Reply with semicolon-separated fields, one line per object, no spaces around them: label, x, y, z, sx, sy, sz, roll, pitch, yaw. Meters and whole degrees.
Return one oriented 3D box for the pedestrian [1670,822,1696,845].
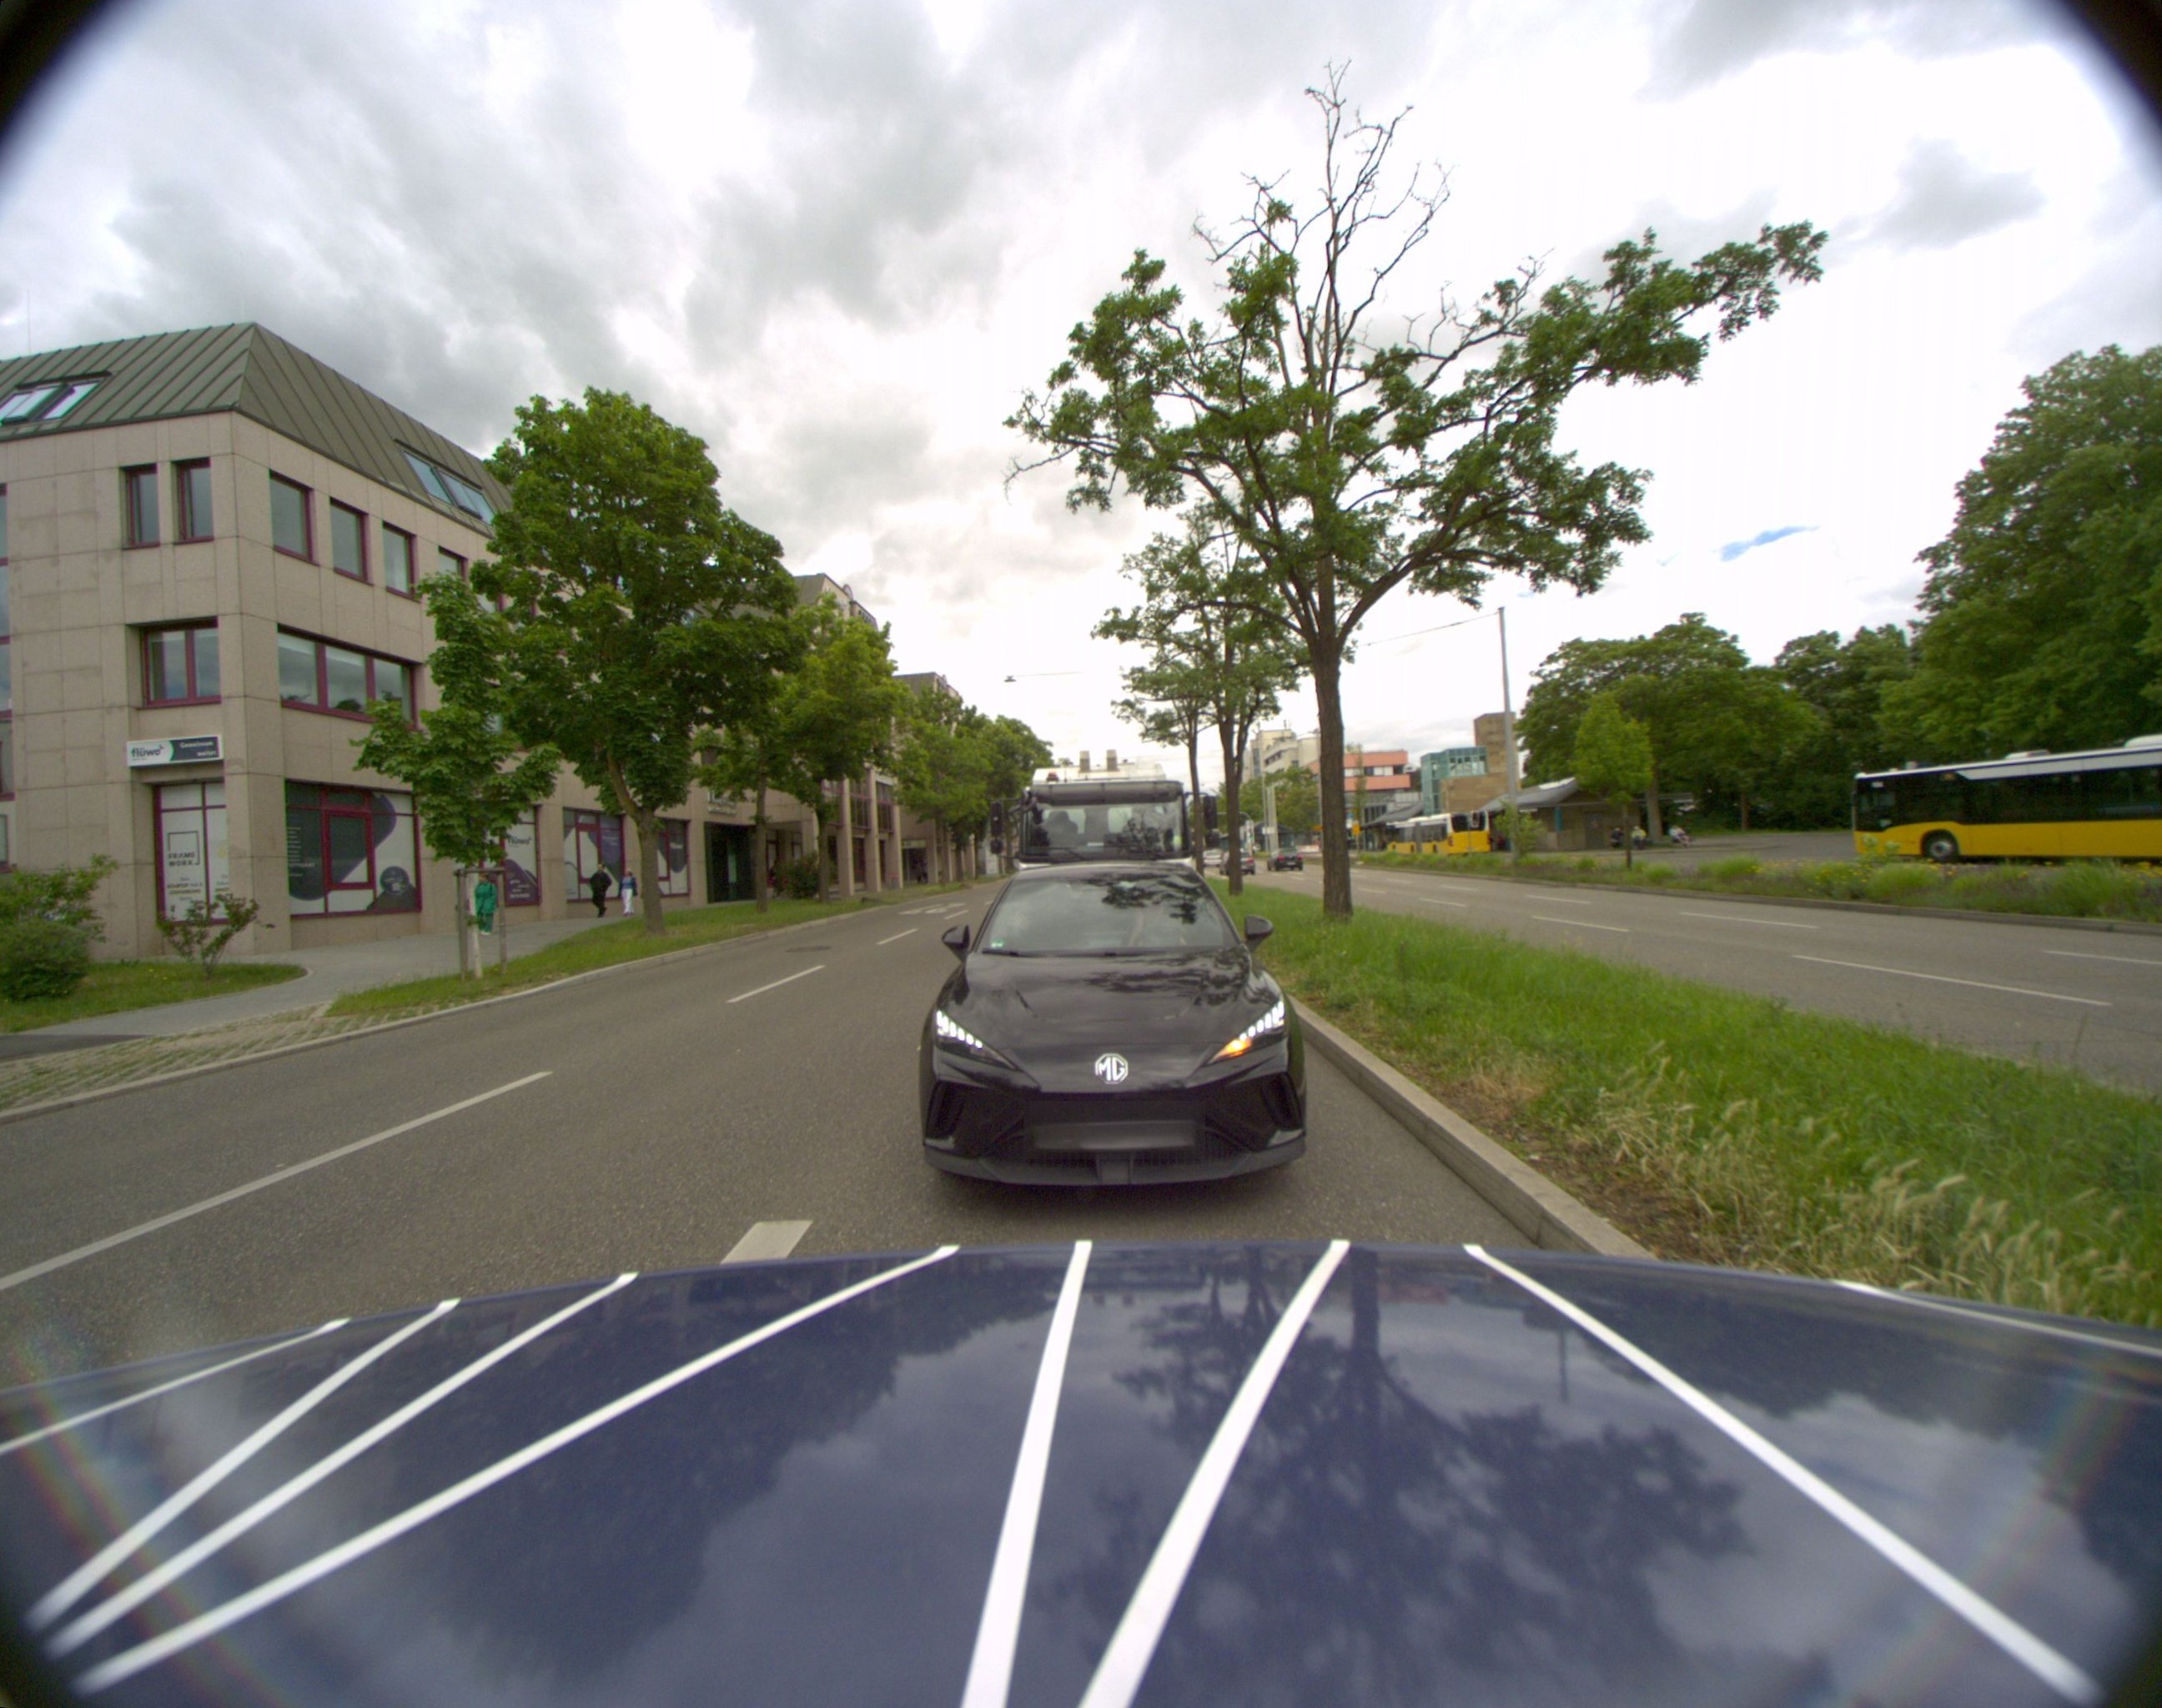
pedestrian;31.952;-1.081;40.358;0.650;1.165;0.925;-2;1;1

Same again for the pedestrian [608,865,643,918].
pedestrian;-14.598;1.185;24.362;0.642;1.637;0.677;-3;1;1

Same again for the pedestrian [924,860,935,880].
pedestrian;-10.847;1.130;54.403;0.607;1.397;0.640;-2;1;3

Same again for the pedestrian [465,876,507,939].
pedestrian;-14.593;1.296;18.656;0.496;1.510;0.677;0;1;1

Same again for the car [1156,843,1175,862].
car;9.439;-0.154;84.908;1.726;2.002;4.001;-3;0;3

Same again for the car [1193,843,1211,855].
car;16.773;-0.703;105.571;1.846;1.602;4.000;-3;0;1

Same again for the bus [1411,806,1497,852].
bus;26.061;-1.646;53.596;2.887;2.793;9.182;-3;0;10

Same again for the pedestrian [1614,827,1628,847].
pedestrian;30.717;-0.968;43.223;0.598;1.155;0.744;-2;1;30

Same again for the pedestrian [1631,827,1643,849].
pedestrian;30.139;-0.886;41.203;0.367;1.160;0.899;-2;1;26

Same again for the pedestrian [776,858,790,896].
pedestrian;-13.595;1.043;34.667;0.380;1.683;0.356;-3;1;3

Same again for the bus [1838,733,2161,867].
bus;25.825;-1.288;19.626;2.888;2.985;10.397;-3;0;6

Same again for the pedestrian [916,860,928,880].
pedestrian;-11.501;1.150;54.850;0.667;1.397;0.519;-2;1;2

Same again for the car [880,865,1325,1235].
car;0.120;0.868;5.230;1.827;1.430;4.000;-3;0;1

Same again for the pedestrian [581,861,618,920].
pedestrian;-15.303;1.147;24.165;0.642;1.795;0.677;-3;1;1

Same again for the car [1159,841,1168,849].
car;22.278;-2.518;206.055;1.998;2.002;3.999;-2;1;1

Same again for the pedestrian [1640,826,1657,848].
pedestrian;30.659;-0.904;41.028;0.598;1.155;0.744;-2;1;26

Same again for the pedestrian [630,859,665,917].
pedestrian;-13.868;1.090;24.315;0.642;1.795;0.677;-3;1;1

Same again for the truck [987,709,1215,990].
truck;0.345;-0.056;12.624;2.544;3.187;7.369;-3;0;2

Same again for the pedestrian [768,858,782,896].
pedestrian;-13.970;1.057;34.686;0.400;1.683;0.400;-3;1;3

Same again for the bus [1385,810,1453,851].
bus;27.590;-1.815;62.455;2.887;2.985;9.182;-3;0;10
